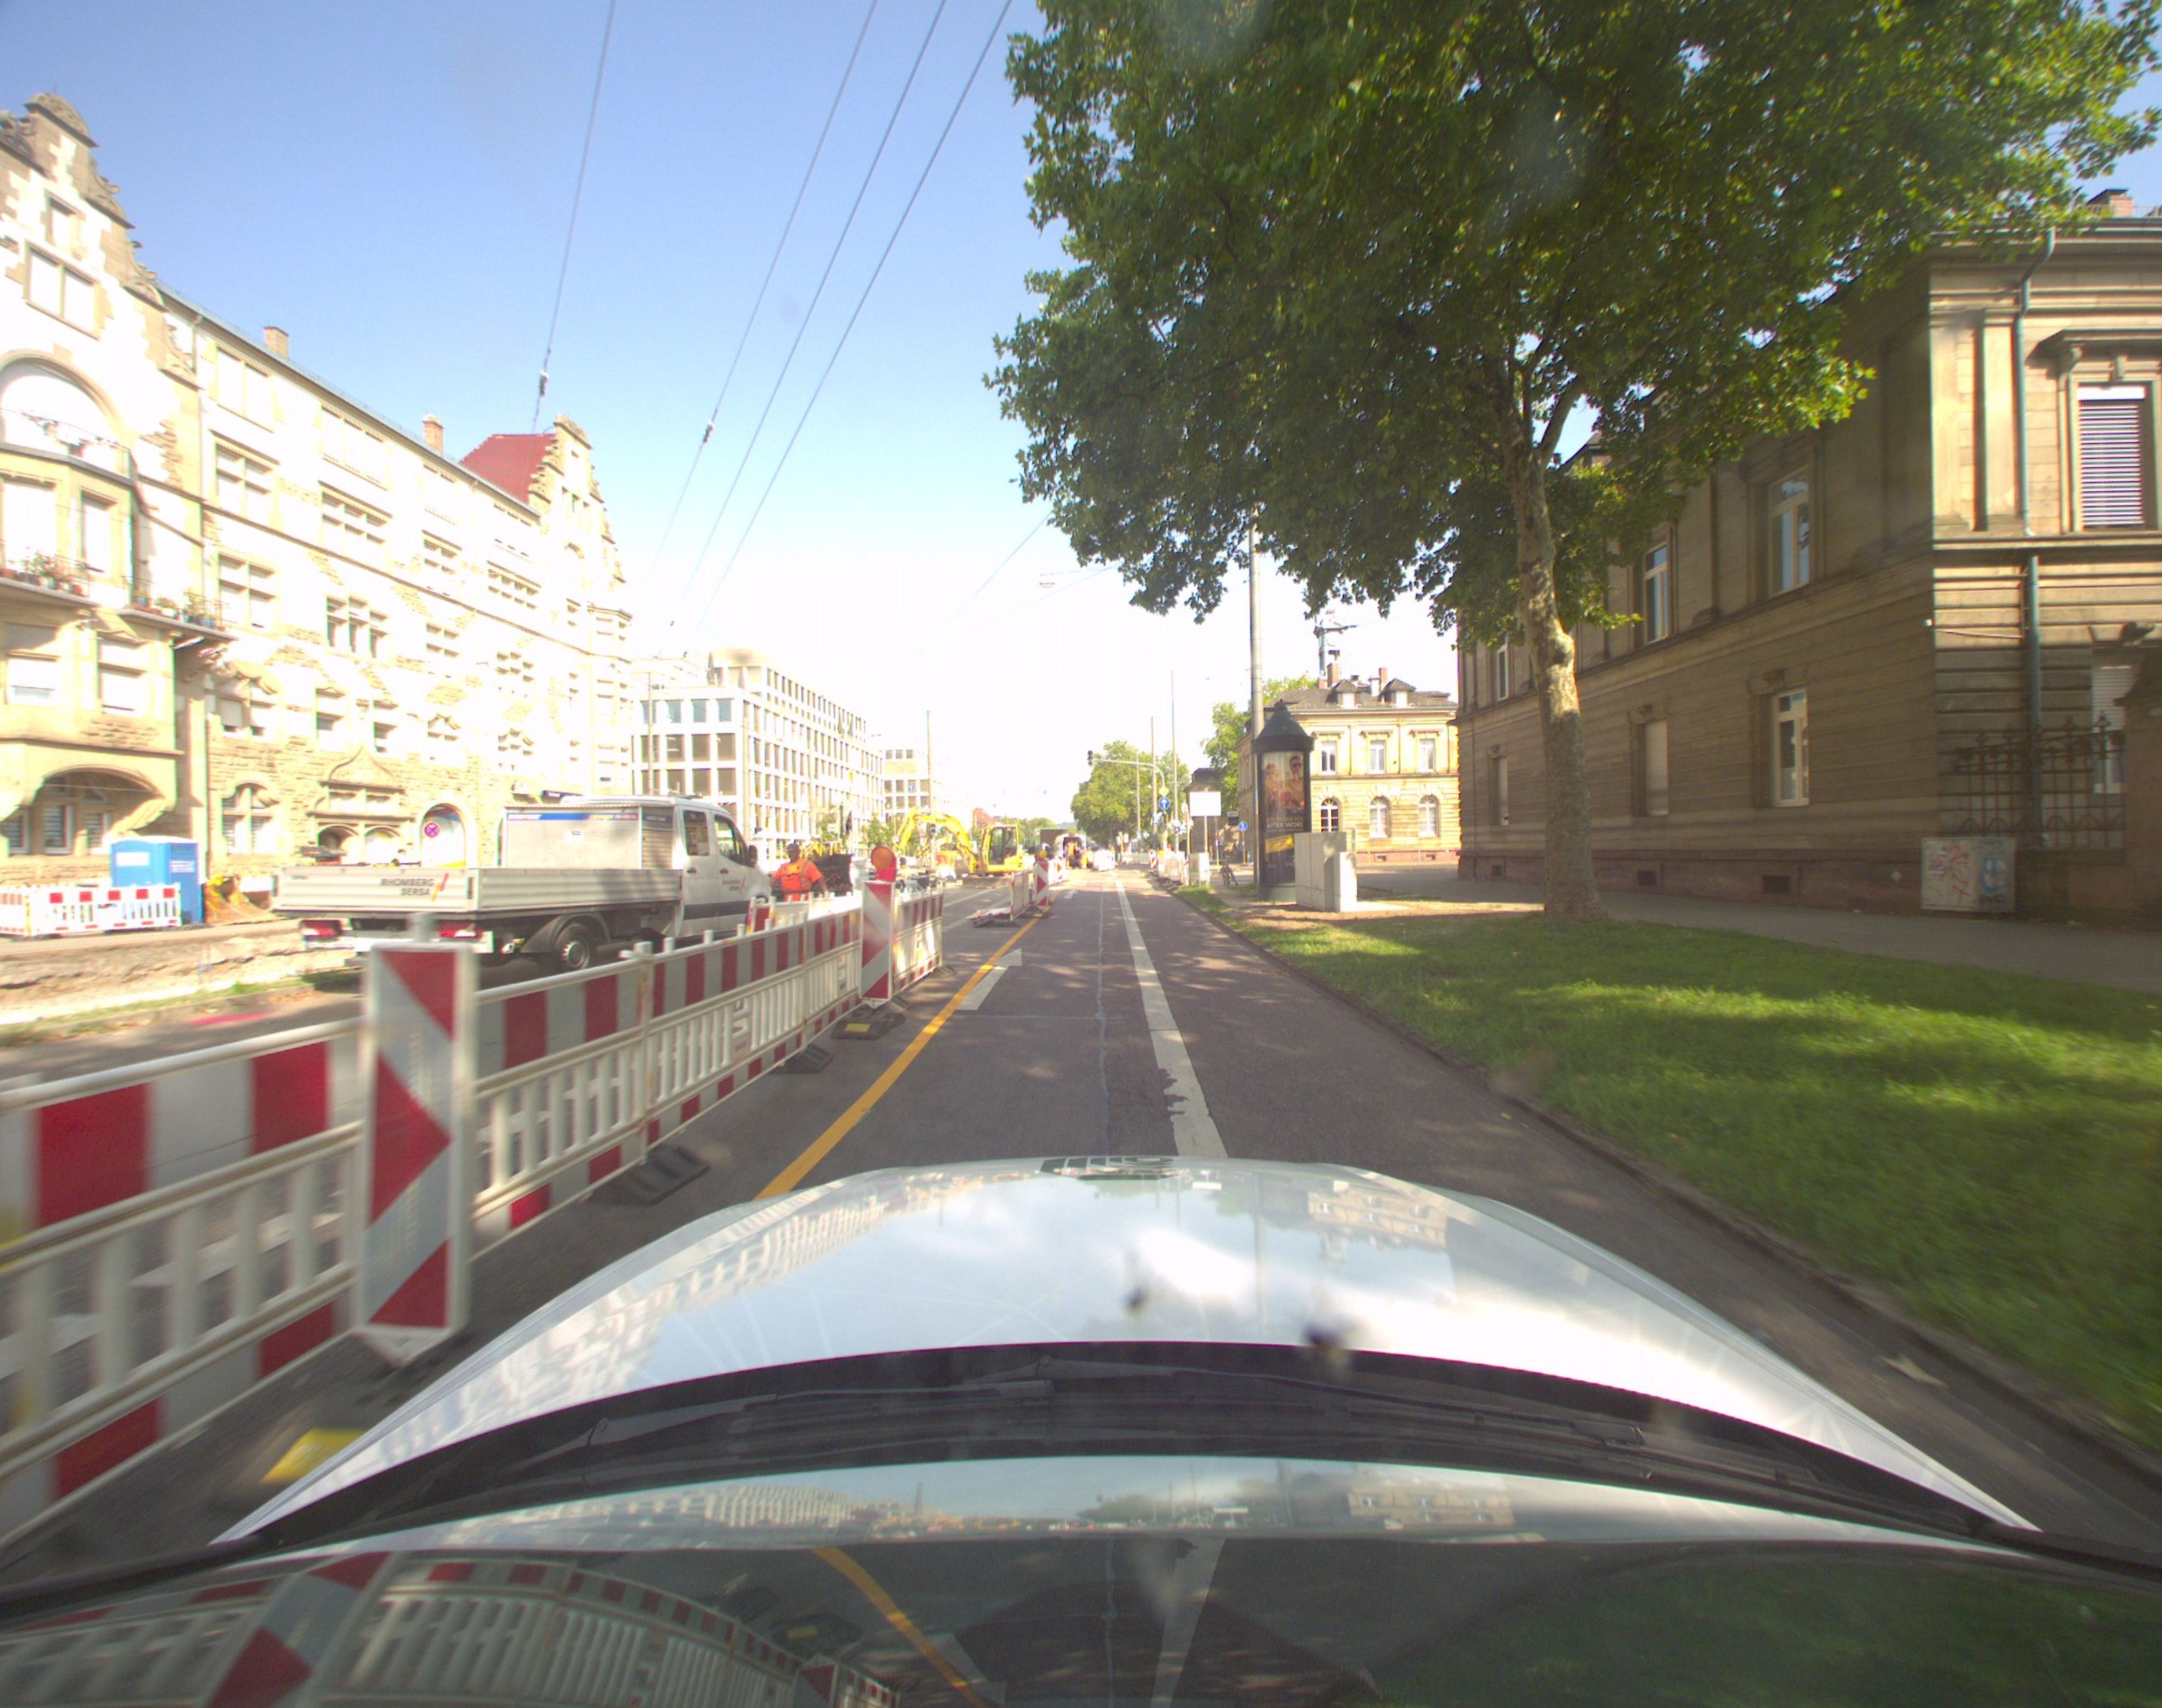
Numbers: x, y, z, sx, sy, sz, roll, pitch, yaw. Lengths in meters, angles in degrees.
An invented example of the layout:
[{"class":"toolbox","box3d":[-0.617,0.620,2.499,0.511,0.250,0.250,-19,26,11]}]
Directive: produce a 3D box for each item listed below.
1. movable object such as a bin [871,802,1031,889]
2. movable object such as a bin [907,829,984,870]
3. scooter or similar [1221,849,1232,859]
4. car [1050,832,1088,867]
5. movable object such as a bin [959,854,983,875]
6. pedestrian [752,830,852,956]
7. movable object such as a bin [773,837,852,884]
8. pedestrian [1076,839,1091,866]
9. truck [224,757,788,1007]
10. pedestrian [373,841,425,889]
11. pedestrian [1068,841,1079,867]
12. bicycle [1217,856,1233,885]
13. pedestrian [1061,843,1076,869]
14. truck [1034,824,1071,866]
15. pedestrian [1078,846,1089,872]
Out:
[{"class":"movable object such as a bin","box3d":[-5.312,-0.377,33.243,6.161,3.346,2.104,-1,0,-19]},{"class":"movable object such as a bin","box3d":[-14.380,-0.537,87.230,3.471,4.013,9.094,-2,0,25]},{"class":"scooter or similar","box3d":[17.472,0.002,98.009,1.257,1.210,0.419,-3,2,-24]},{"class":"car","box3d":[-1.041,-0.380,67.214,2.225,2.729,5.152,-1,0,-10]},{"class":"movable object such as a bin","box3d":[-6.435,0.599,47.861,0.746,1.170,2.296,-1,0,8]},{"class":"pedestrian","box3d":[-4.031,0.539,11.855,1.028,1.710,1.095,-2,0,0]},{"class":"movable object such as a bin","box3d":[-20.509,0.469,62.870,2.834,3.330,8.353,-2,0,3]},{"class":"pedestrian","box3d":[0.218,-0.118,63.075,0.727,2.013,0.913,-2,0,35]},{"class":"truck","box3d":[-6.533,0.253,10.950,2.148,2.222,7.057,-2,0,4]},{"class":"pedestrian","box3d":[-25.561,0.411,30.546,0.911,1.741,1.146,-1,0,1]},{"class":"pedestrian","box3d":[-0.585,-0.009,65.147,0.730,2.013,0.909,-2,0,7]},{"class":"bicycle","box3d":[5.183,0.587,29.323,0.408,0.987,1.377,-2,0,4]},{"class":"pedestrian","box3d":[-0.950,0.153,63.723,0.727,2.013,0.913,-2,0,33]},{"class":"truck","box3d":[-2.831,-0.842,77.788,2.672,3.678,8.193,-2,0,-7]},{"class":"pedestrian","box3d":[0.189,0.387,64.038,0.730,2.013,0.909,-2,0,8]}]
